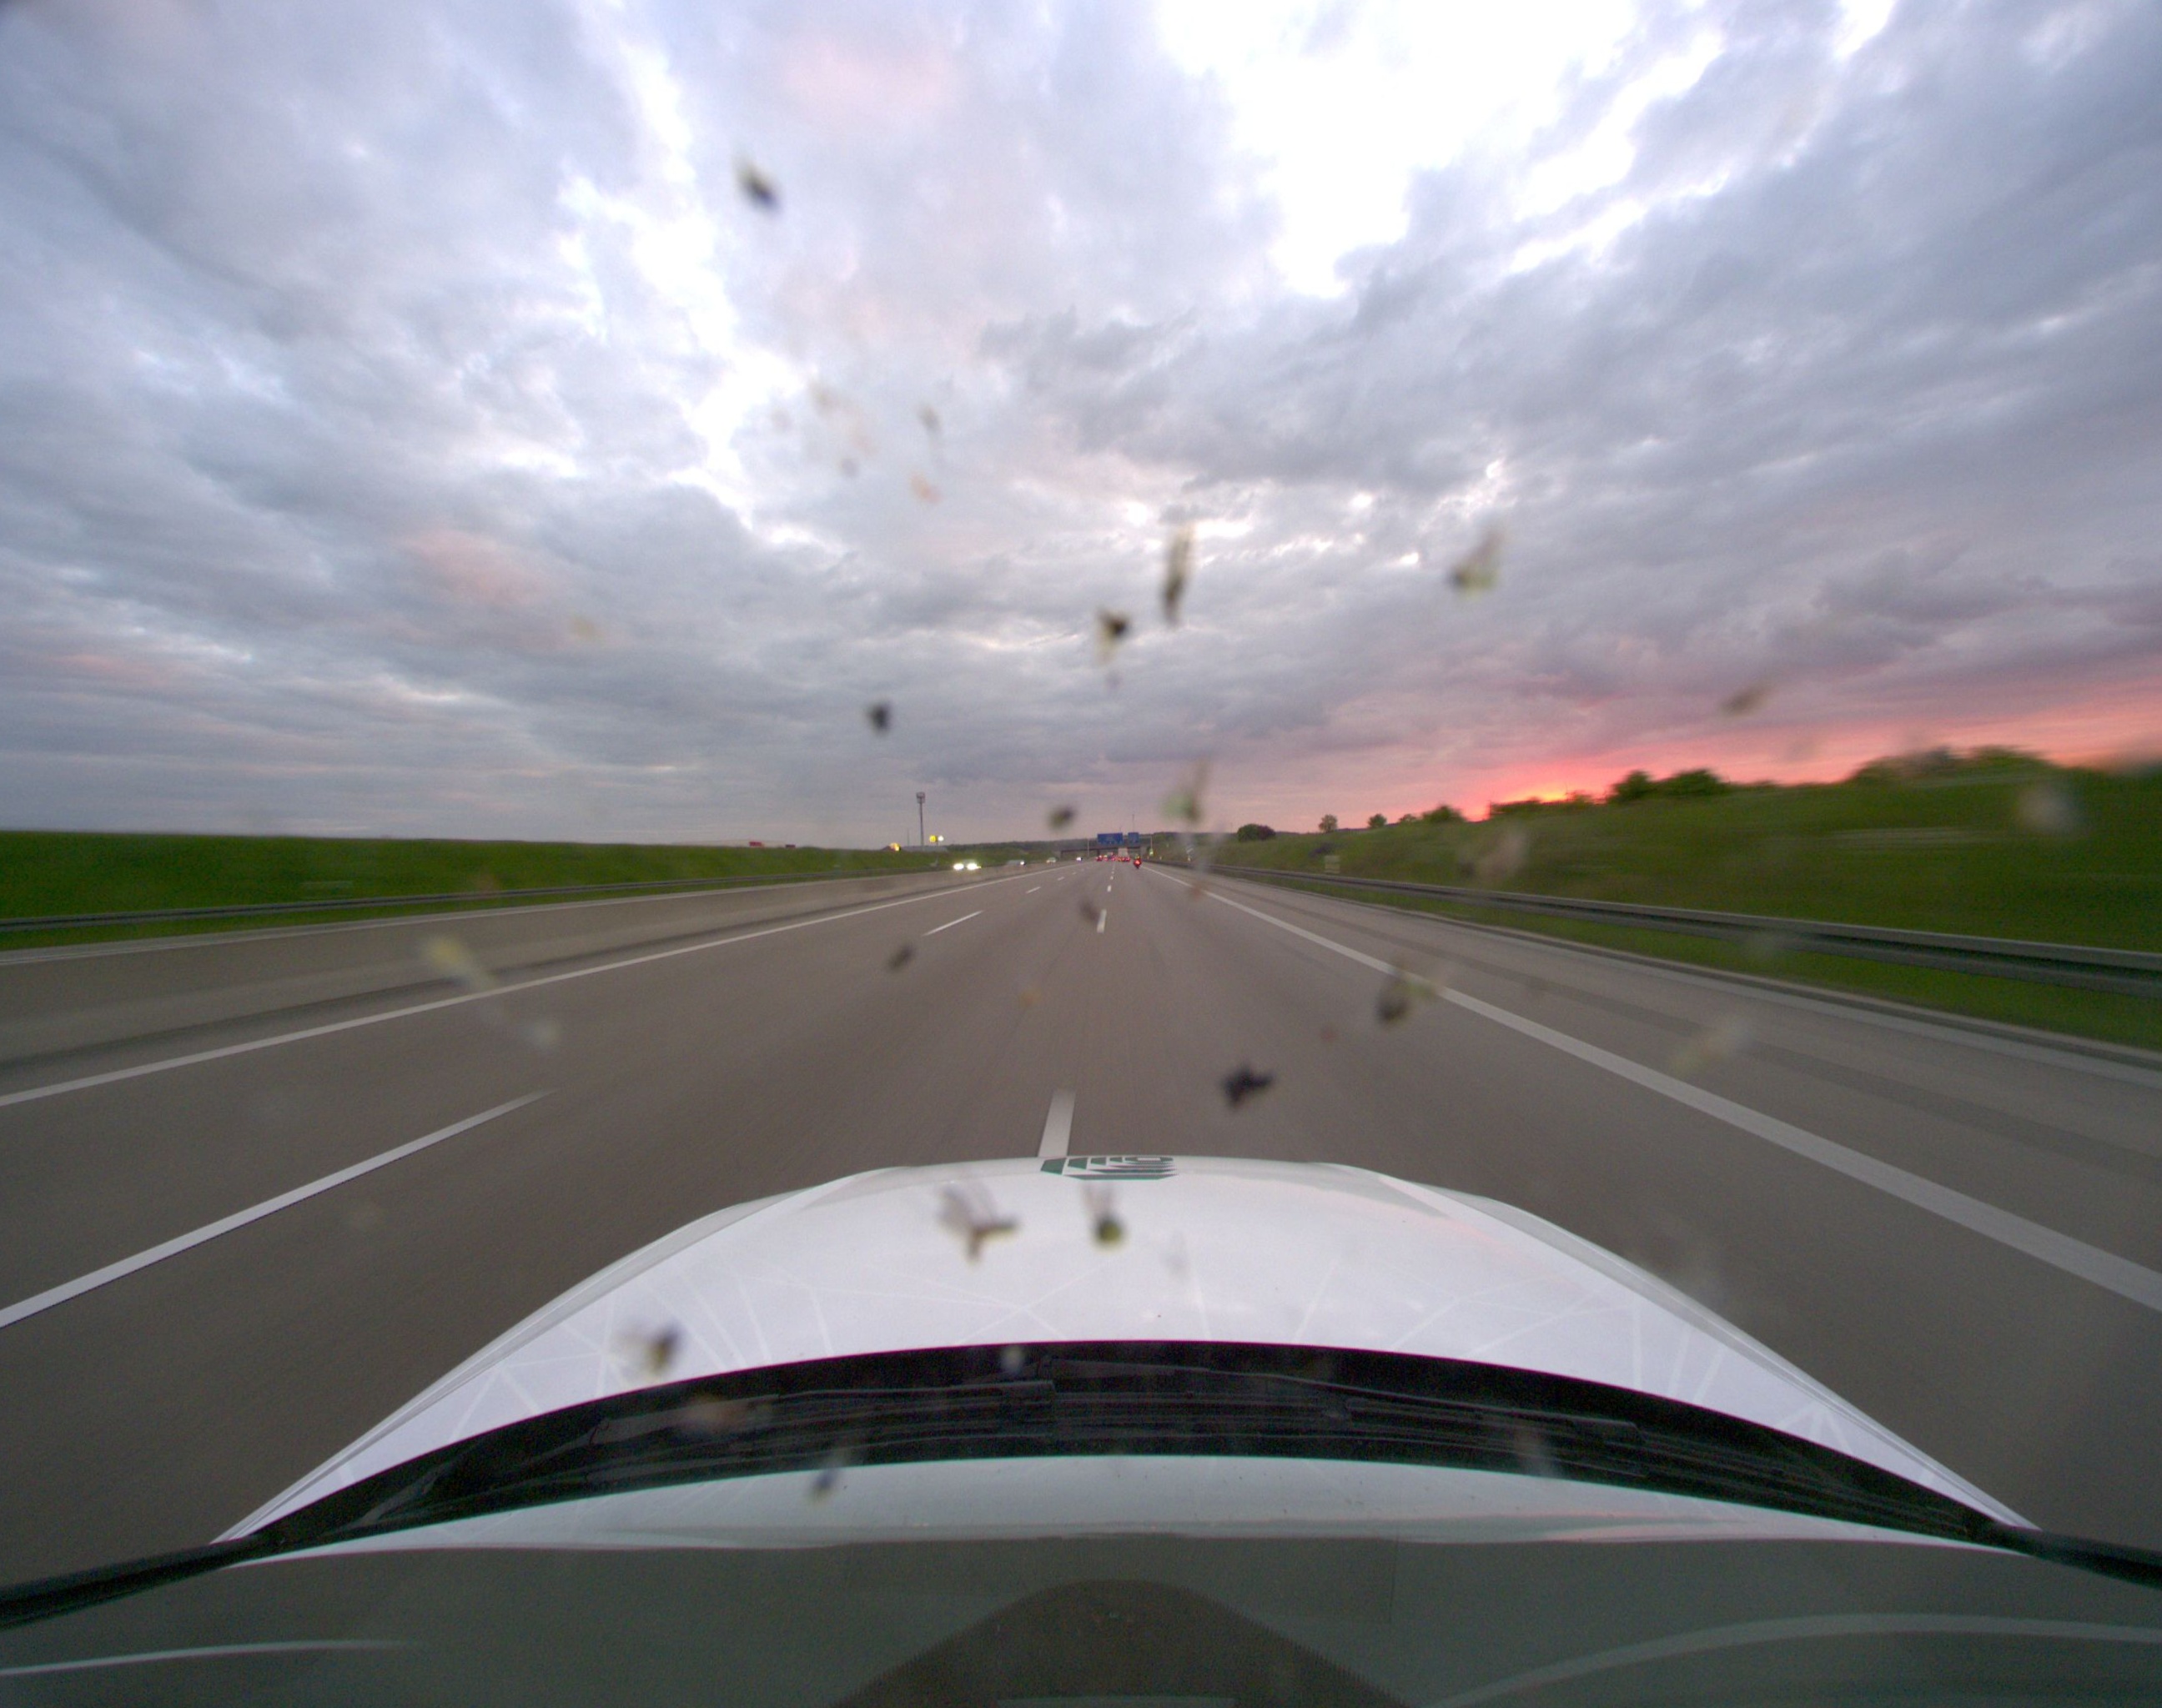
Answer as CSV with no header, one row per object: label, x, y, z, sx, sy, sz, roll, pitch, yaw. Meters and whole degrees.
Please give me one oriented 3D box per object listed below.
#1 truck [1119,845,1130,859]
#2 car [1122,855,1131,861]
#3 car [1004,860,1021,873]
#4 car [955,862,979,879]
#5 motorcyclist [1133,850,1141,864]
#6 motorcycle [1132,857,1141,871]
truck,13.002,-0.596,244.900,3.220,4.227,9.606,-1,0,3
car,11.226,1.016,201.756,1.911,1.579,4.001,-2,0,2
car,-8.801,1.601,105.219,1.732,1.499,4.132,-2,0,2
car,-13.391,1.905,96.224,2.093,1.810,5.020,-2,0,0
motorcyclist,6.100,0.322,89.193,0.862,1.487,1.169,-1,0,4
motorcycle,6.111,1.087,89.120,0.898,1.346,2.350,-2,1,3
